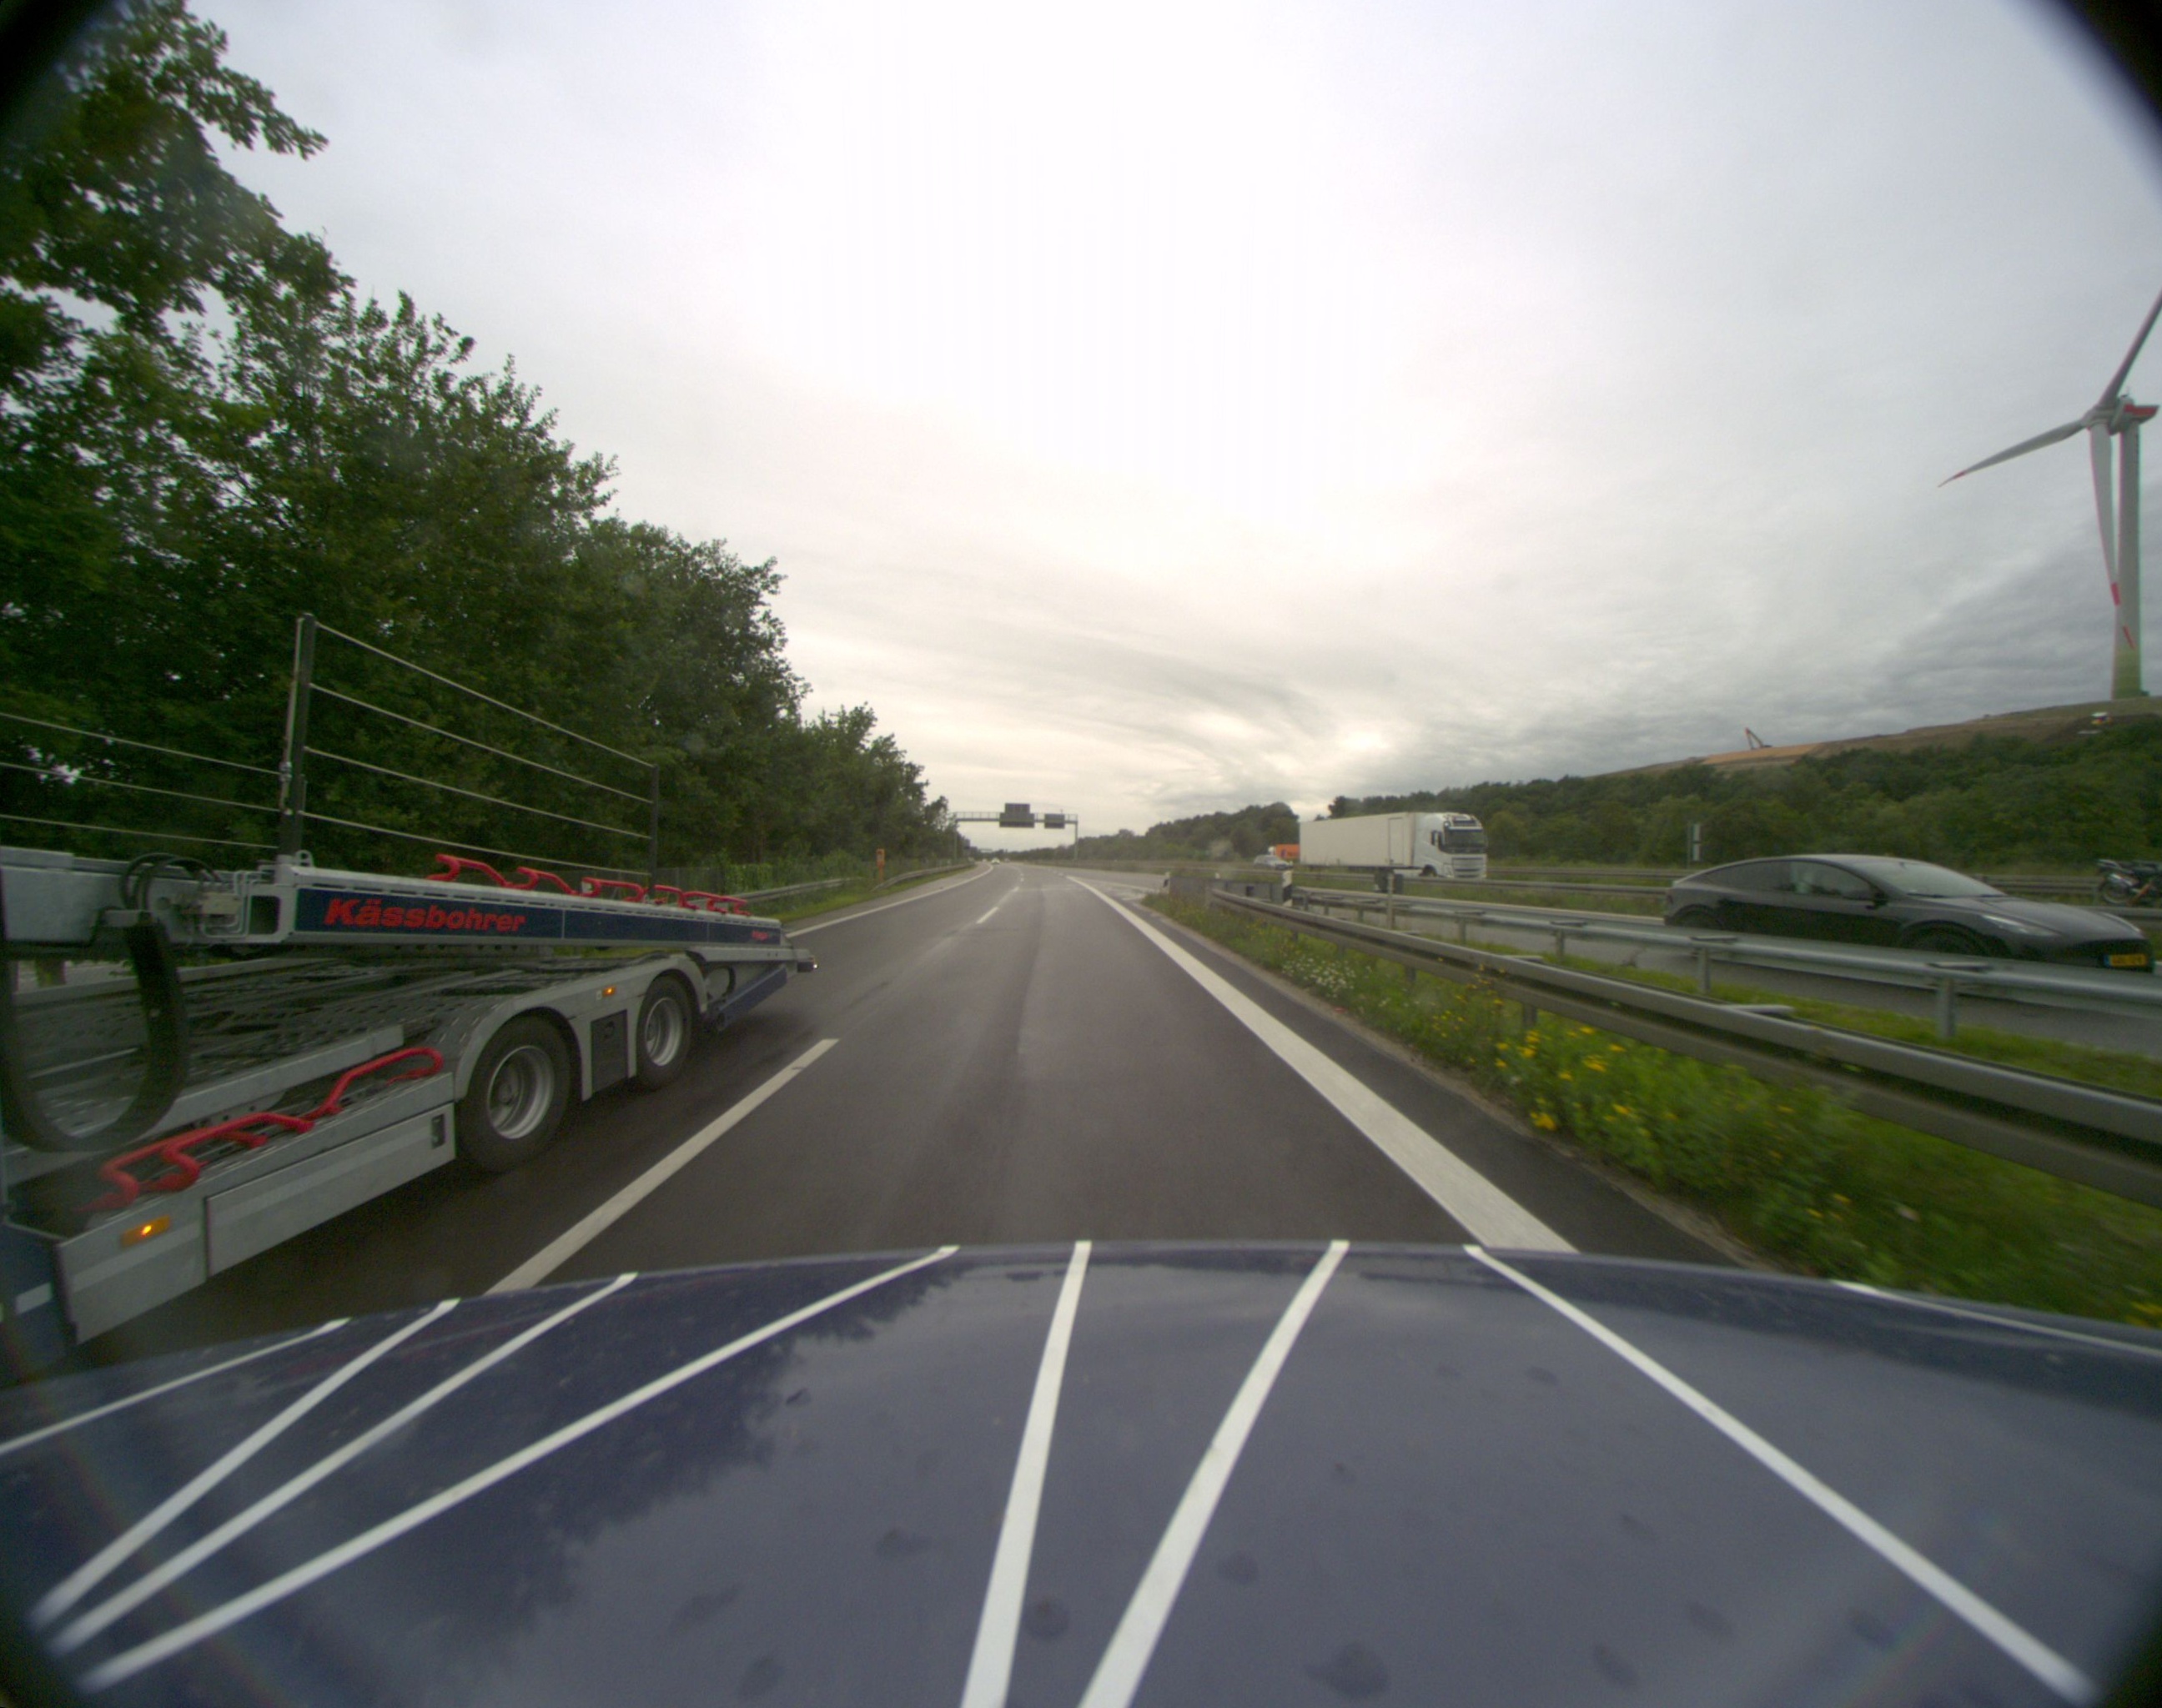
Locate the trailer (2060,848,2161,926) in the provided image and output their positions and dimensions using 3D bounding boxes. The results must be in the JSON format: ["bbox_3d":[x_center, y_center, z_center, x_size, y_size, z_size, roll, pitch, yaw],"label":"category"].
[{"bbox_3d":[23.823,0.706,15.902,1.888,1.617,3.607,-1,1,-9],"label":"trailer"}]

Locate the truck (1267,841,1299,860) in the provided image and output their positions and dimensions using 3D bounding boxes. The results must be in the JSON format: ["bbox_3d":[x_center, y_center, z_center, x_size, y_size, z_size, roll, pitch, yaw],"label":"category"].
[{"bbox_3d":[33.954,-0.670,127.809,2.694,3.056,6.448,-1,1,-10],"label":"truck"}]

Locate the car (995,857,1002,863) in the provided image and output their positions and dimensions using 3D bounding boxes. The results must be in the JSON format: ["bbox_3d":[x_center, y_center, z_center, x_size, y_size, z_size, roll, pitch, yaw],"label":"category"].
[{"bbox_3d":[-22.310,1.622,205.271,1.631,1.632,3.773,-1,1,-10],"label":"car"}]

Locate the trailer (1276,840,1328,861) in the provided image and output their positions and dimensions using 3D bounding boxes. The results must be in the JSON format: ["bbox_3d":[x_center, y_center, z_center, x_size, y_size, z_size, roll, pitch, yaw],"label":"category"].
[{"bbox_3d":[35.099,-0.610,121.241,2.694,3.056,12.554,-1,1,-10],"label":"trailer"}]

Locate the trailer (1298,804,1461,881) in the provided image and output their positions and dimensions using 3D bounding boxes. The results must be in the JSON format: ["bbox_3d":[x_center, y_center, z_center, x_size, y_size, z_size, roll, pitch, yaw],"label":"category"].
[{"bbox_3d":[18.043,-0.639,47.708,2.775,4.111,13.939,-1,0,-9],"label":"trailer"}]

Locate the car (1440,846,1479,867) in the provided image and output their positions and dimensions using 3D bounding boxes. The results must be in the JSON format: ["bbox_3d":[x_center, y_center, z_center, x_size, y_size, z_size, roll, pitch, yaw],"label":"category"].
[{"bbox_3d":[44.005,0.320,88.437,2.029,2.362,3.996,-1,0,-10],"label":"car"}]

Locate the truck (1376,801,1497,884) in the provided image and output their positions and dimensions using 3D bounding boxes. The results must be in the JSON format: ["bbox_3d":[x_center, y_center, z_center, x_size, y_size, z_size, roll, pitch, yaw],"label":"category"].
[{"bbox_3d":[19.080,-0.578,41.280,2.775,4.111,6.440,-1,0,-9],"label":"truck"}]

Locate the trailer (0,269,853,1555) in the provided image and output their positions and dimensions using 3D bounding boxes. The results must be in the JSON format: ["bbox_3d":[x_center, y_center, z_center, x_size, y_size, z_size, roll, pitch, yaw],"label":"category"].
[{"bbox_3d":[-4.152,0.154,3.963,2.785,3.265,10.406,-1,0,0],"label":"trailer"}]

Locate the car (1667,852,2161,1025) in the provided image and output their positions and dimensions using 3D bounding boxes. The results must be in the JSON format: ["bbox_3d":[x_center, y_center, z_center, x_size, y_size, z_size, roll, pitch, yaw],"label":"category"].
[{"bbox_3d":[10.527,0.829,9.857,1.968,1.628,4.550,-1,1,-8],"label":"car"}]

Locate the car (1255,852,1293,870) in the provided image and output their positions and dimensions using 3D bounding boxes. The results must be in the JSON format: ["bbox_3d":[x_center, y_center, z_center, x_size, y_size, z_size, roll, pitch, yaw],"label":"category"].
[{"bbox_3d":[18.761,0.651,73.908,1.905,1.641,4.481,-1,0,-10],"label":"car"}]

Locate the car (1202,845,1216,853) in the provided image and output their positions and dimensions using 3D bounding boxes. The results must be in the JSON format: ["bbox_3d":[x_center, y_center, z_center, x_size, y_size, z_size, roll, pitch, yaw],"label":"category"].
[{"bbox_3d":[27.145,-1.050,160.918,1.661,1.632,3.886,-1,1,-10],"label":"car"}]
